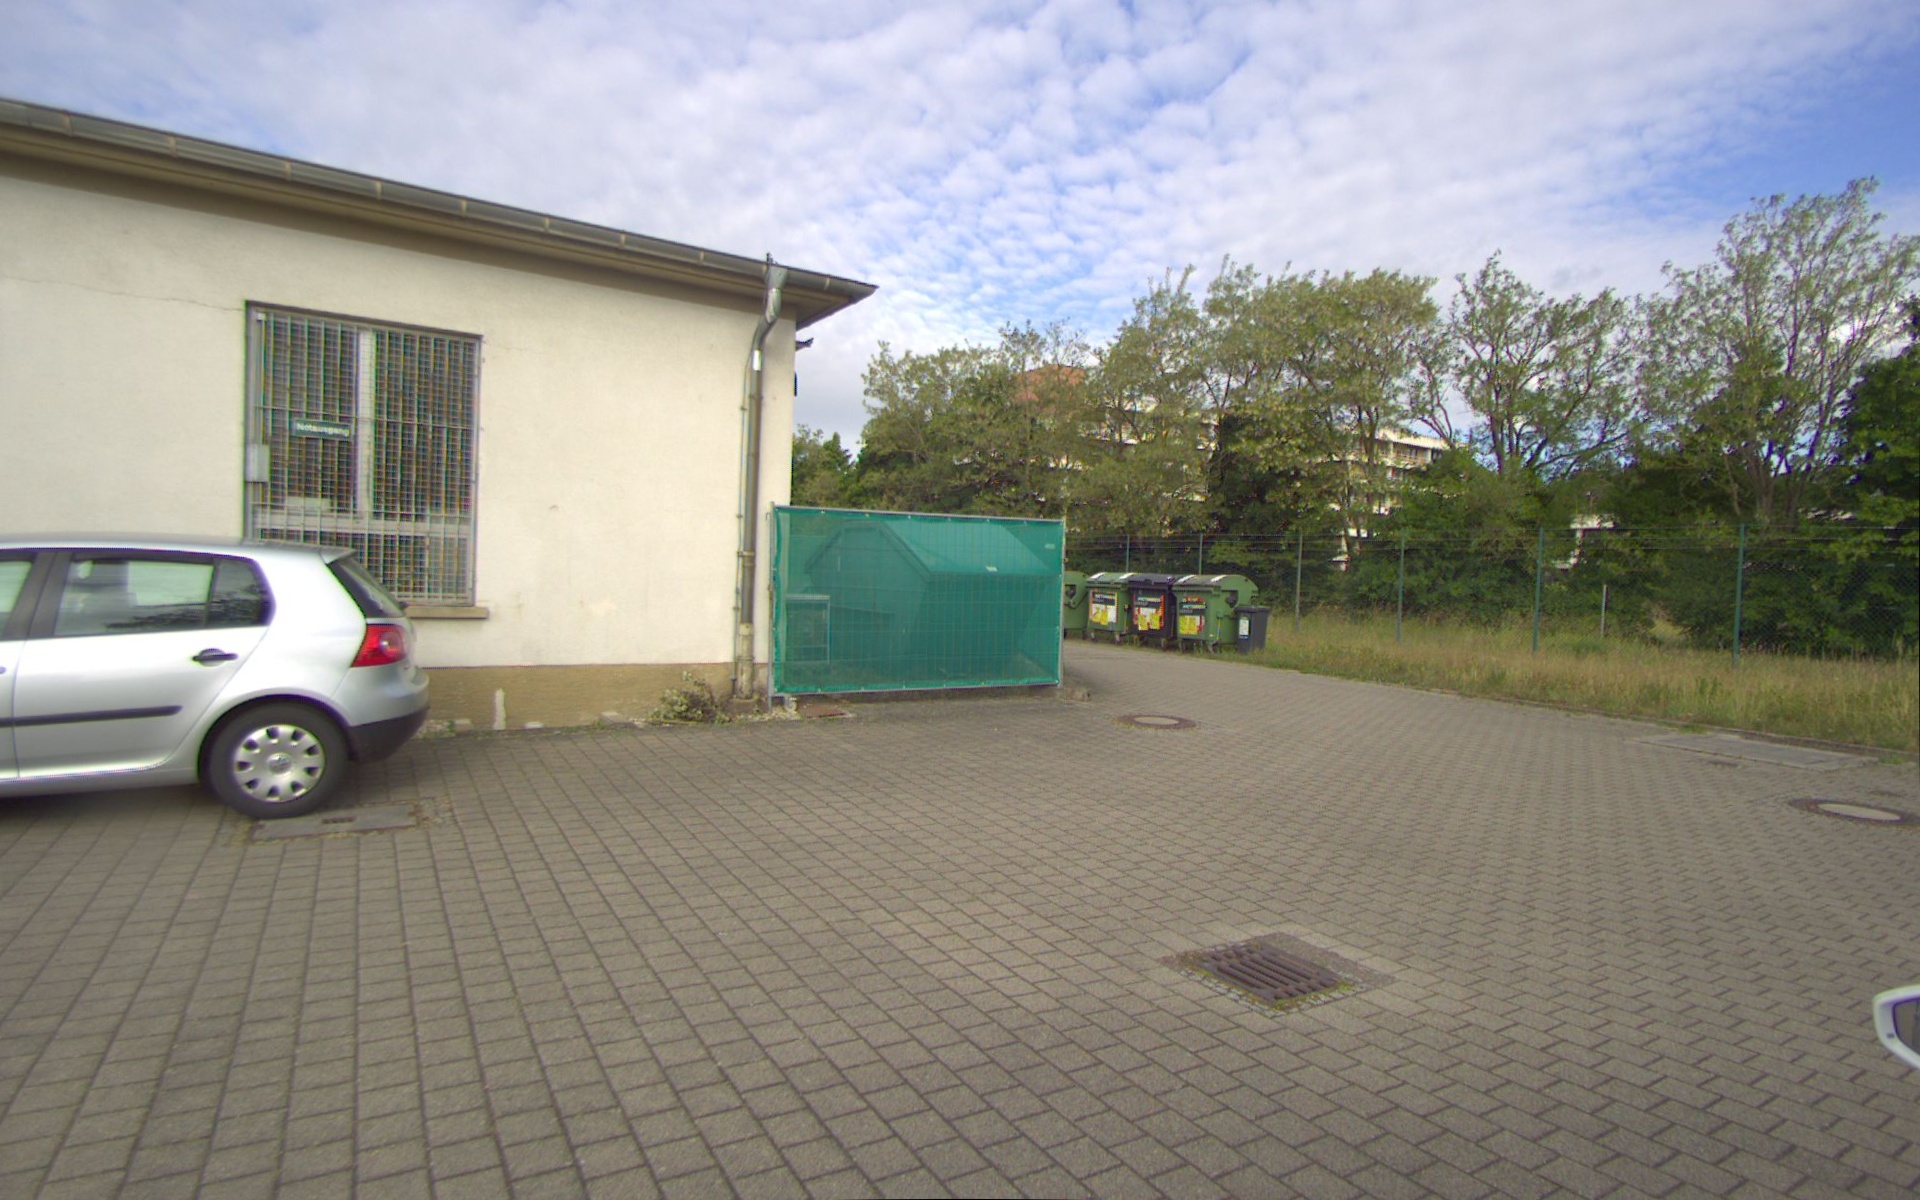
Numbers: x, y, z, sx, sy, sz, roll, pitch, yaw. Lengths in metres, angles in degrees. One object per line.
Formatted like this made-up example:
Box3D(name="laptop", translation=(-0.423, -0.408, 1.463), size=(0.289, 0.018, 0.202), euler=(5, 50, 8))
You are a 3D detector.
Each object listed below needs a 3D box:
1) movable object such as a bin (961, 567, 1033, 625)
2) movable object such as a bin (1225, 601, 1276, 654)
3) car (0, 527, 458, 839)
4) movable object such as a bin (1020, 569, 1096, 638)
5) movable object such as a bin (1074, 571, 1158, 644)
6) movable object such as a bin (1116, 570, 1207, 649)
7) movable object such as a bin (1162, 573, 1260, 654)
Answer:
Box3D(name="movable object such as a bin", translation=(0.880, -0.104, 24.019), size=(1.114, 1.313, 1.367), euler=(1, 1, -32))
Box3D(name="movable object such as a bin", translation=(5.061, 0.479, 17.493), size=(0.593, 0.877, 0.582), euler=(2, 1, -23))
Box3D(name="car", translation=(-5.257, 0.350, 5.483), size=(4.321, 1.458, 1.913), euler=(1, 3, -33))
Box3D(name="movable object such as a bin", translation=(2.105, 0.067, 21.791), size=(1.110, 1.417, 1.378), euler=(2, 1, -21))
Box3D(name="movable object such as a bin", translation=(3.187, 0.148, 20.613), size=(1.059, 1.424, 1.375), euler=(2, 1, -28))
Box3D(name="movable object such as a bin", translation=(3.899, 0.176, 19.500), size=(1.059, 1.454, 1.388), euler=(2, 1, -28))
Box3D(name="movable object such as a bin", translation=(4.551, 0.229, 18.322), size=(1.116, 1.414, 1.349), euler=(2, 1, -23))
